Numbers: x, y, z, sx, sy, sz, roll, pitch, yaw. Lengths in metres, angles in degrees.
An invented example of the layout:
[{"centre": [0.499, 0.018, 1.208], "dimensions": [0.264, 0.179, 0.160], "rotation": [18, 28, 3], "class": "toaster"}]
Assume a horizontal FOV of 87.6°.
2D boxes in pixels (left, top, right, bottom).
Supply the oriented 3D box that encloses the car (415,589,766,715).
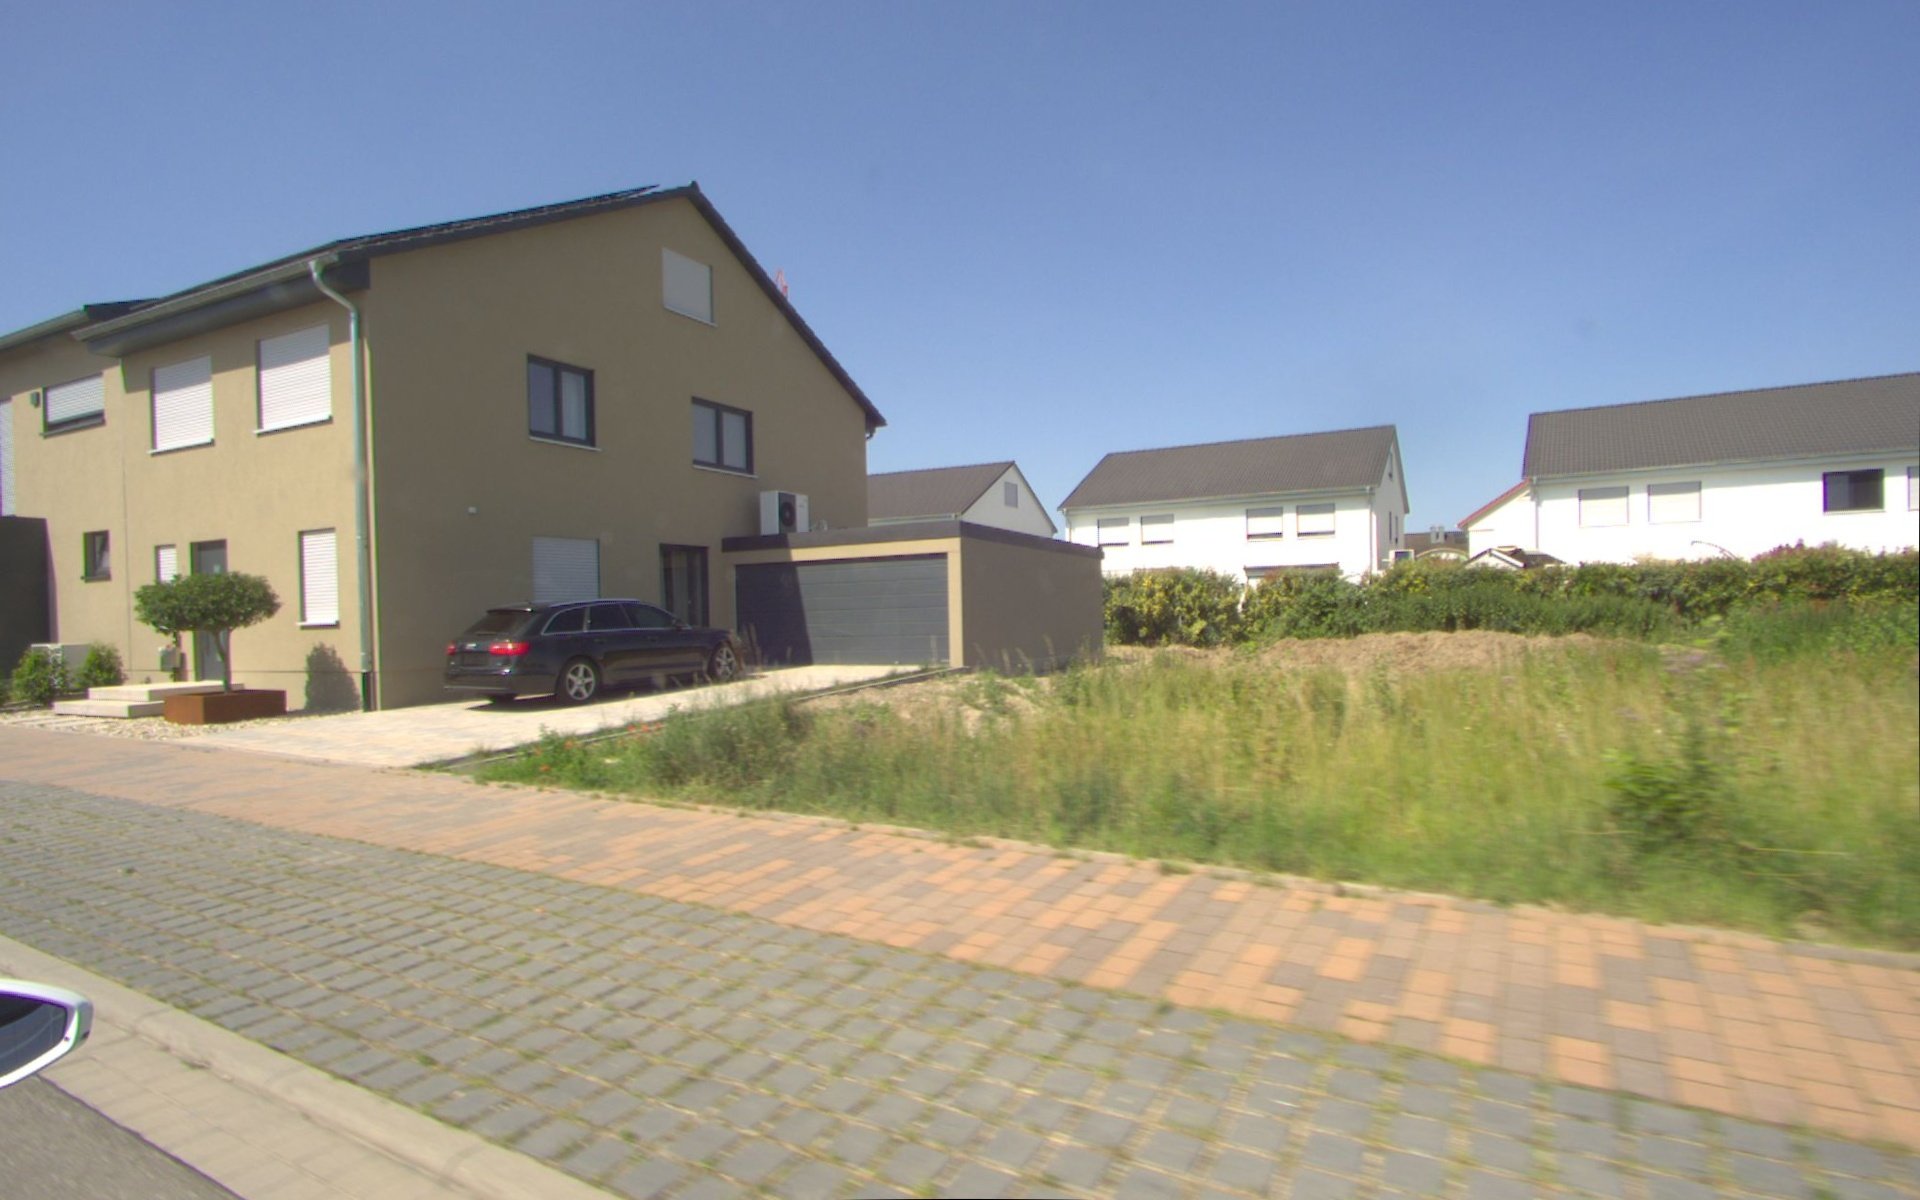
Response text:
[{"centre": [-5.350, 0.647, 15.279], "dimensions": [1.970, 1.445, 4.878], "rotation": [0, 2, 29], "class": "car"}]
